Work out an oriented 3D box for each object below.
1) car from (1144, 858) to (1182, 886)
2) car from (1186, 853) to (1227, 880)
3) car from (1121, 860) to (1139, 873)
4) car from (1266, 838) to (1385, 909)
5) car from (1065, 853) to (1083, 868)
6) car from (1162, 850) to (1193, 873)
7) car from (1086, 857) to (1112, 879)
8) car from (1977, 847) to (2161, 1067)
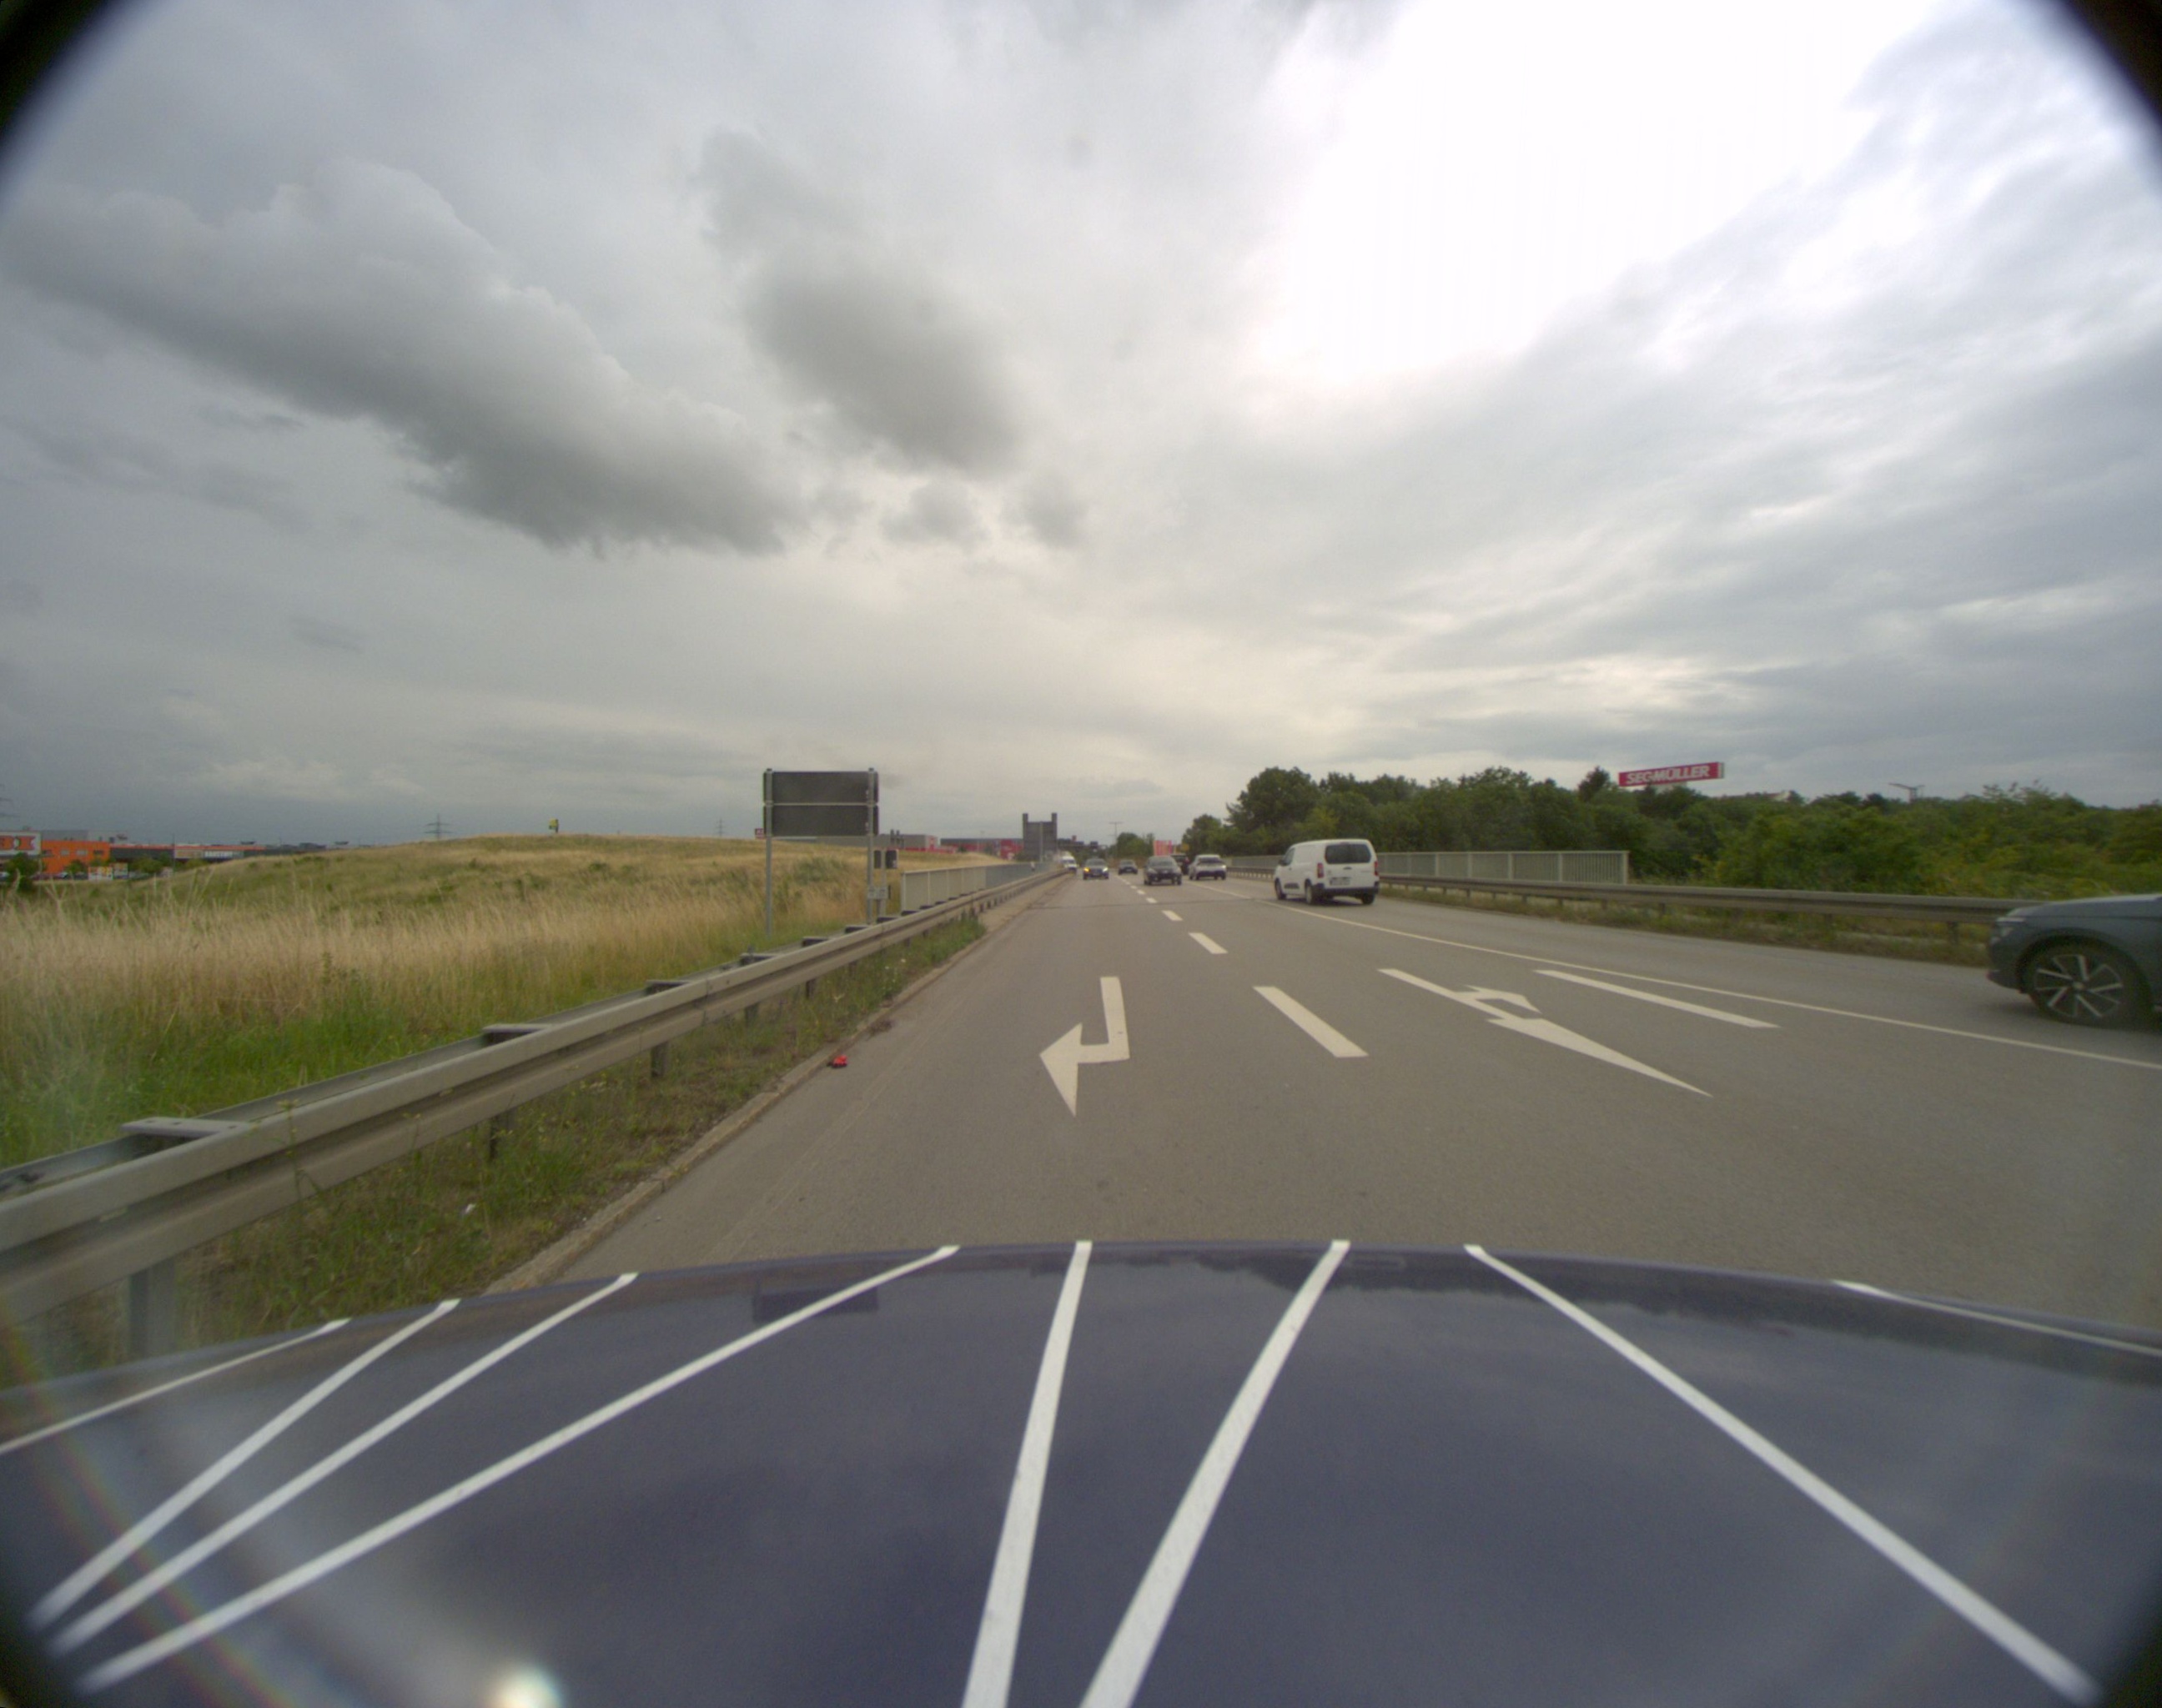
[{"bbox_3d":[4.195,0.899,39.162,1.580,1.346,3.824,-1,0,1],"label":"car"},{"bbox_3d":[7.567,0.733,46.083,1.716,1.478,4.279,-1,0,0],"label":"car"},{"bbox_3d":[4.646,1.177,72.532,1.579,1.261,3.314,-1,0,1],"label":"car"},{"bbox_3d":[7.124,0.520,22.721,1.958,1.864,4.820,-1,0,-1],"label":"car"},{"bbox_3d":[-1.089,0.920,111.091,2.000,2.001,4.841,-1,-2,-8],"label":"car"},{"bbox_3d":[7.746,0.595,61.313,1.998,1.722,4.762,-2,1,2],"label":"car"},{"bbox_3d":[1.273,1.029,53.907,1.764,1.411,4.093,0,-2,2],"label":"car"},{"bbox_3d":[8.647,0.738,4.491,1.587,1.548,4.143,-1,0,-8],"label":"car"}]
